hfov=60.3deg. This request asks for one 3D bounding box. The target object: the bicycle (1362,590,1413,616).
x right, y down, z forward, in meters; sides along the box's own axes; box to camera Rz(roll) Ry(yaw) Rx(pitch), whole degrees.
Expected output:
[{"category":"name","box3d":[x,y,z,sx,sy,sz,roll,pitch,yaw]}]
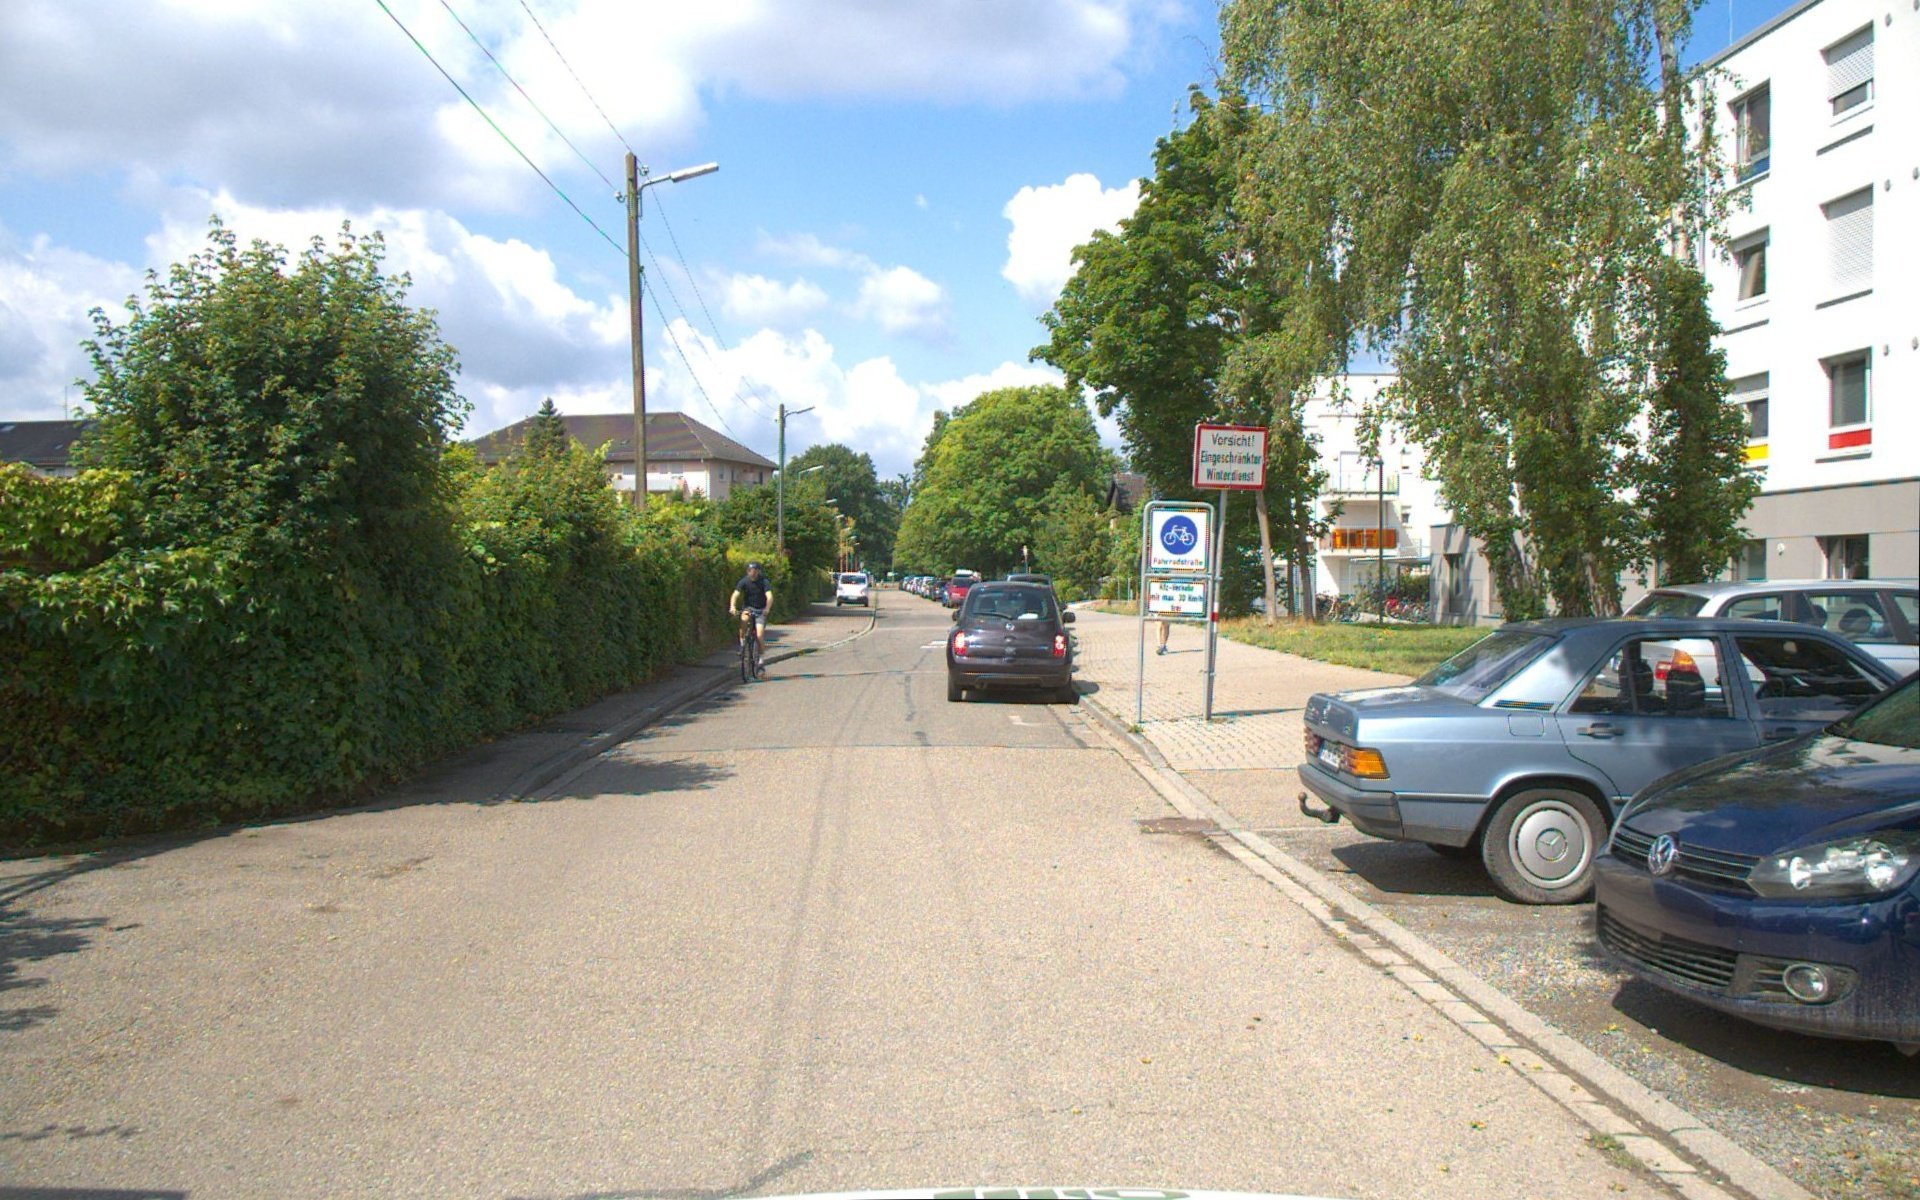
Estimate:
[{"category":"bicycle","box3d":[18.670,0.119,72.237,2.005,1.098,0.688,-1,0,0]}]

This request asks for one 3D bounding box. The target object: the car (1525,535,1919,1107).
[{"category":"car","box3d":[4.208,0.650,5.679,3.856,1.586,1.866,1,0,-5]}]

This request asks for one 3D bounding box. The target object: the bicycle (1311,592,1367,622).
[{"category":"bicycle","box3d":[14.937,0.282,65.233,2.045,1.139,0.625,-1,0,2]}]

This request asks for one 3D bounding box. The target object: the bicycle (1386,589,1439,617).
[{"category":"bicycle","box3d":[18.946,0.123,69.279,2.005,1.098,0.688,-1,0,0]}]

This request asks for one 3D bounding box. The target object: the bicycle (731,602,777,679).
[{"category":"bicycle","box3d":[-3.335,0.634,26.859,0.507,1.170,1.827,-1,1,0]}]

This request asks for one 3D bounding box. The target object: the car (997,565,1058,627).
[{"category":"car","box3d":[2.117,-0.133,52.076,1.835,1.837,3.433,1,0,2]}]

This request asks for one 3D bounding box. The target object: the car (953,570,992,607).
[{"category":"car","box3d":[0.648,-0.635,90.824,2.016,1.959,4.540,1,0,0]}]

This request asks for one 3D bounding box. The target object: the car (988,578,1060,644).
[{"category":"car","box3d":[1.523,0.247,39.651,1.629,1.464,3.745,1,0,2]}]

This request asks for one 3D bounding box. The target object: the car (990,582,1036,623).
[{"category":"car","box3d":[2.092,0.083,65.748,1.644,1.545,4.000,1,0,0]}]

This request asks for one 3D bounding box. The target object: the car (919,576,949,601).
[{"category":"car","box3d":[-1.807,-0.825,115.349,2.016,1.681,4.540,1,0,0]}]

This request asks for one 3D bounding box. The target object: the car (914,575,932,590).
[{"category":"car","box3d":[-4.157,-1.945,184.987,1.813,1.646,4.001,1,0,2]}]

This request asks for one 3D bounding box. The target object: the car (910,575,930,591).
[{"category":"car","box3d":[-4.088,-1.706,169.990,1.813,1.646,4.001,0,0,2]}]

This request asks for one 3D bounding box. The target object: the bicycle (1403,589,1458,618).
[{"category":"bicycle","box3d":[19.009,0.146,66.849,2.005,1.098,0.688,-1,0,0]}]

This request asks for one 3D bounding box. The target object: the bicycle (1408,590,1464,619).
[{"category":"bicycle","box3d":[19.005,0.162,66.033,2.005,1.098,0.688,-1,0,0]}]

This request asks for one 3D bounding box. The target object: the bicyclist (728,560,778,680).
[{"category":"bicyclist","box3d":[-3.339,0.312,26.706,0.645,1.884,1.043,-1,0,-1]}]

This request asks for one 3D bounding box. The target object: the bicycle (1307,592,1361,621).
[{"category":"bicycle","box3d":[15.155,0.269,67.062,2.005,1.098,0.688,-1,0,0]}]

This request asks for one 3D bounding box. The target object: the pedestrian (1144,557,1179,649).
[{"category":"pedestrian","box3d":[3.939,0.058,32.276,0.597,1.776,0.722,1,0,11]}]

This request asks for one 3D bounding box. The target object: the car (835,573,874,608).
[{"category":"car","box3d":[-5.742,-0.513,90.489,1.864,1.846,4.000,1,0,0]}]

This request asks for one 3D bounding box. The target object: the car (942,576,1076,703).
[{"category":"car","box3d":[0.675,0.478,22.543,1.629,1.532,4.001,1,0,2]}]

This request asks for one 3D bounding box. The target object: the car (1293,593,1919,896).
[{"category":"car","box3d":[4.071,0.688,8.784,4.268,1.416,1.718,-1,0,1]}]

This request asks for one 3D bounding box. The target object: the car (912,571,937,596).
[{"category":"car","box3d":[-3.002,-1.394,140.385,2.016,1.996,4.540,1,0,0]}]

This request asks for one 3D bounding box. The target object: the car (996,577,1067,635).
[{"category":"car","box3d":[1.887,0.152,44.563,1.630,1.460,3.540,1,0,-2]}]

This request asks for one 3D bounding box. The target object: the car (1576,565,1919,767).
[{"category":"car","box3d":[7.456,0.464,13.525,4.157,1.455,1.758,-2,0,-4]}]

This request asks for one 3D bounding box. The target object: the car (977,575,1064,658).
[{"category":"car","box3d":[1.288,0.307,34.055,1.628,1.579,3.639,1,0,4]}]
